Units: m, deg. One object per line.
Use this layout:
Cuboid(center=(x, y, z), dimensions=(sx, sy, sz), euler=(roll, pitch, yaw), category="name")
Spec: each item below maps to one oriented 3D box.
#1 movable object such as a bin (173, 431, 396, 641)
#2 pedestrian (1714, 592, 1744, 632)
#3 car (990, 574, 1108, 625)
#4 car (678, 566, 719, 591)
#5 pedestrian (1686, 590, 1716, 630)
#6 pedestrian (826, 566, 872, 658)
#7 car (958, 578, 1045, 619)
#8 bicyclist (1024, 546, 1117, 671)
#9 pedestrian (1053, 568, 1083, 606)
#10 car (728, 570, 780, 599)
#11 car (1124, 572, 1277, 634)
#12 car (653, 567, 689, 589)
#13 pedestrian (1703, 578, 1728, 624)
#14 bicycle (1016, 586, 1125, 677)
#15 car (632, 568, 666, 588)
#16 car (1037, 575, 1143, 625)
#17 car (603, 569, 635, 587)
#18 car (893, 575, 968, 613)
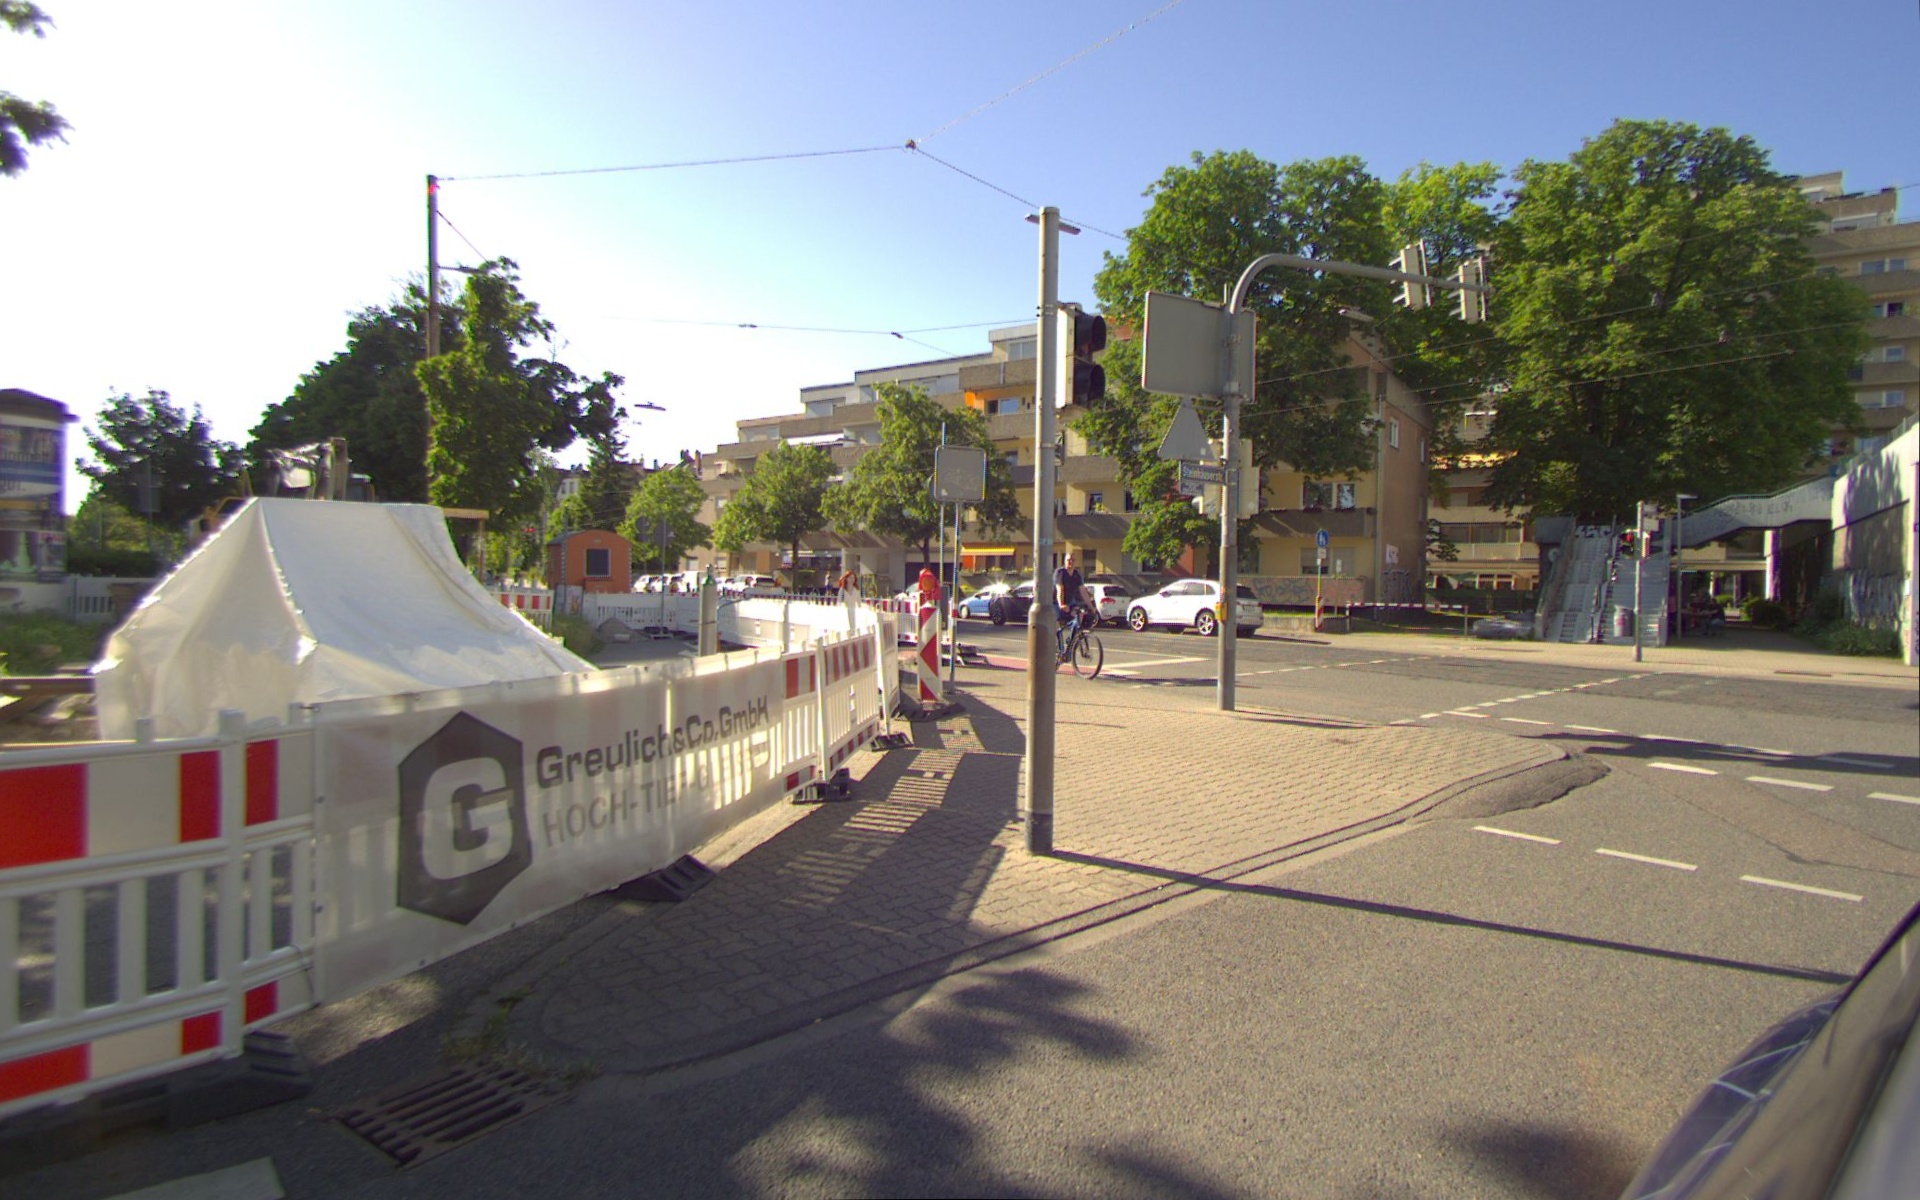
Cuboid(center=(-12.827, -1.090, 19.091), dimensions=(2.788, 3.405, 4.700), euler=(-1, 1, -43), category="movable object such as a bin")
Cuboid(center=(26.042, 0.384, 34.288), dimensions=(0.718, 1.315, 0.583), euler=(1, 1, 30), category="pedestrian")
Cuboid(center=(2.795, -0.056, 32.387), dimensions=(1.754, 1.536, 3.755), euler=(0, 1, -36), category="car")
Cuboid(center=(-19.014, -1.569, 73.558), dimensions=(1.775, 1.695, 3.879), euler=(0, 2, -33), category="car")
Cuboid(center=(25.376, 0.328, 34.676), dimensions=(0.734, 1.315, 0.607), euler=(1, 1, 30), category="pedestrian")
Cuboid(center=(-2.014, 0.206, 18.344), dimensions=(0.622, 1.621, 0.640), euler=(1, 1, -26), category="pedestrian")
Cuboid(center=(1.574, -0.083, 39.296), dimensions=(1.635, 1.423, 3.292), euler=(2, 1, -38), category="car")
Cuboid(center=(1.697, 0.110, 15.625), dimensions=(0.897, 1.853, 1.097), euler=(1, 1, -34), category="bicyclist")
Cuboid(center=(4.540, -0.568, 42.500), dimensions=(0.860, 1.572, 0.936), euler=(1, 1, -26), category="pedestrian")
Cuboid(center=(-12.267, -0.939, 60.159), dimensions=(1.775, 1.567, 3.538), euler=(2, 1, -35), category="car")
Cuboid(center=(7.169, 0.028, 30.569), dimensions=(1.899, 1.640, 4.324), euler=(0, 2, -35), category="car")
Cuboid(center=(-22.412, -1.714, 78.378), dimensions=(1.730, 1.574, 3.696), euler=(0, 2, -33), category="car")
Cuboid(center=(28.578, 0.034, 38.309), dimensions=(0.653, 1.712, 0.583), euler=(1, 1, 30), category="pedestrian")
Cuboid(center=(1.671, 0.452, 15.611), dimensions=(0.642, 1.282, 1.785), euler=(1, 1, -33), category="bicycle")
Cuboid(center=(-25.540, -1.794, 83.046), dimensions=(1.730, 1.574, 3.696), euler=(0, 2, -33), category="car")
Cuboid(center=(4.478, -0.014, 35.333), dimensions=(1.626, 1.551, 3.506), euler=(2, 1, -38), category="car")
Cuboid(center=(-29.263, -1.901, 86.826), dimensions=(1.730, 1.474, 3.696), euler=(0, 2, -33), category="car")
Cuboid(center=(-1.279, -0.264, 43.116), dimensions=(1.457, 1.479, 3.368), euler=(2, 1, -38), category="car")
